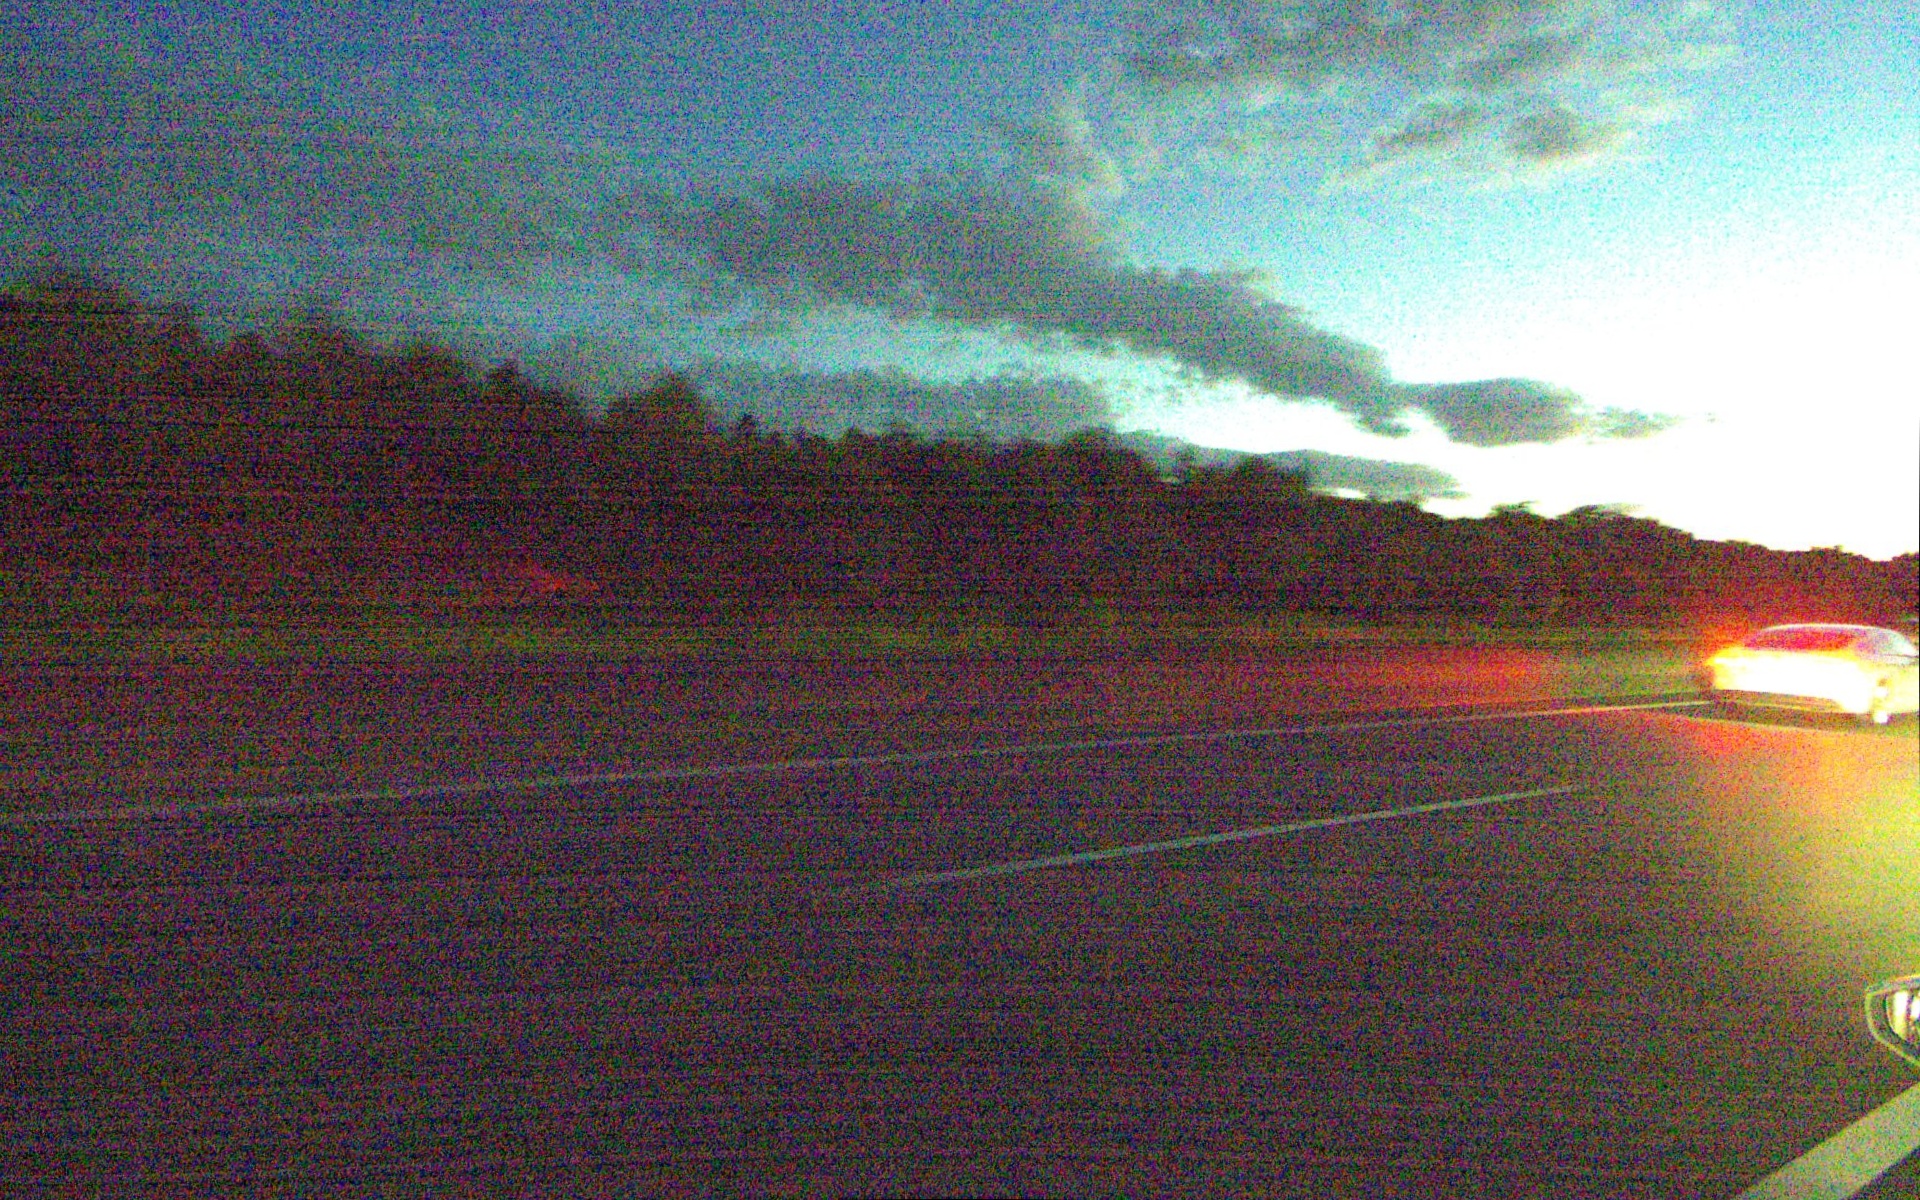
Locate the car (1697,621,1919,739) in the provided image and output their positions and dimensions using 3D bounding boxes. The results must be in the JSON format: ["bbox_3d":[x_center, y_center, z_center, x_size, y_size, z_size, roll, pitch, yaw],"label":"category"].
[{"bbox_3d":[13.412,1.106,15.178,5.192,1.506,1.771,1,0,-30],"label":"car"}]

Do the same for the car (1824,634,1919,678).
[{"bbox_3d":[43.883,2.654,48.276,4.707,1.981,2.186,1,0,-30],"label":"car"}]

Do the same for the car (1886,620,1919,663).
[{"bbox_3d":[40.989,1.742,41.902,4.707,1.704,2.186,1,0,-30],"label":"car"}]
